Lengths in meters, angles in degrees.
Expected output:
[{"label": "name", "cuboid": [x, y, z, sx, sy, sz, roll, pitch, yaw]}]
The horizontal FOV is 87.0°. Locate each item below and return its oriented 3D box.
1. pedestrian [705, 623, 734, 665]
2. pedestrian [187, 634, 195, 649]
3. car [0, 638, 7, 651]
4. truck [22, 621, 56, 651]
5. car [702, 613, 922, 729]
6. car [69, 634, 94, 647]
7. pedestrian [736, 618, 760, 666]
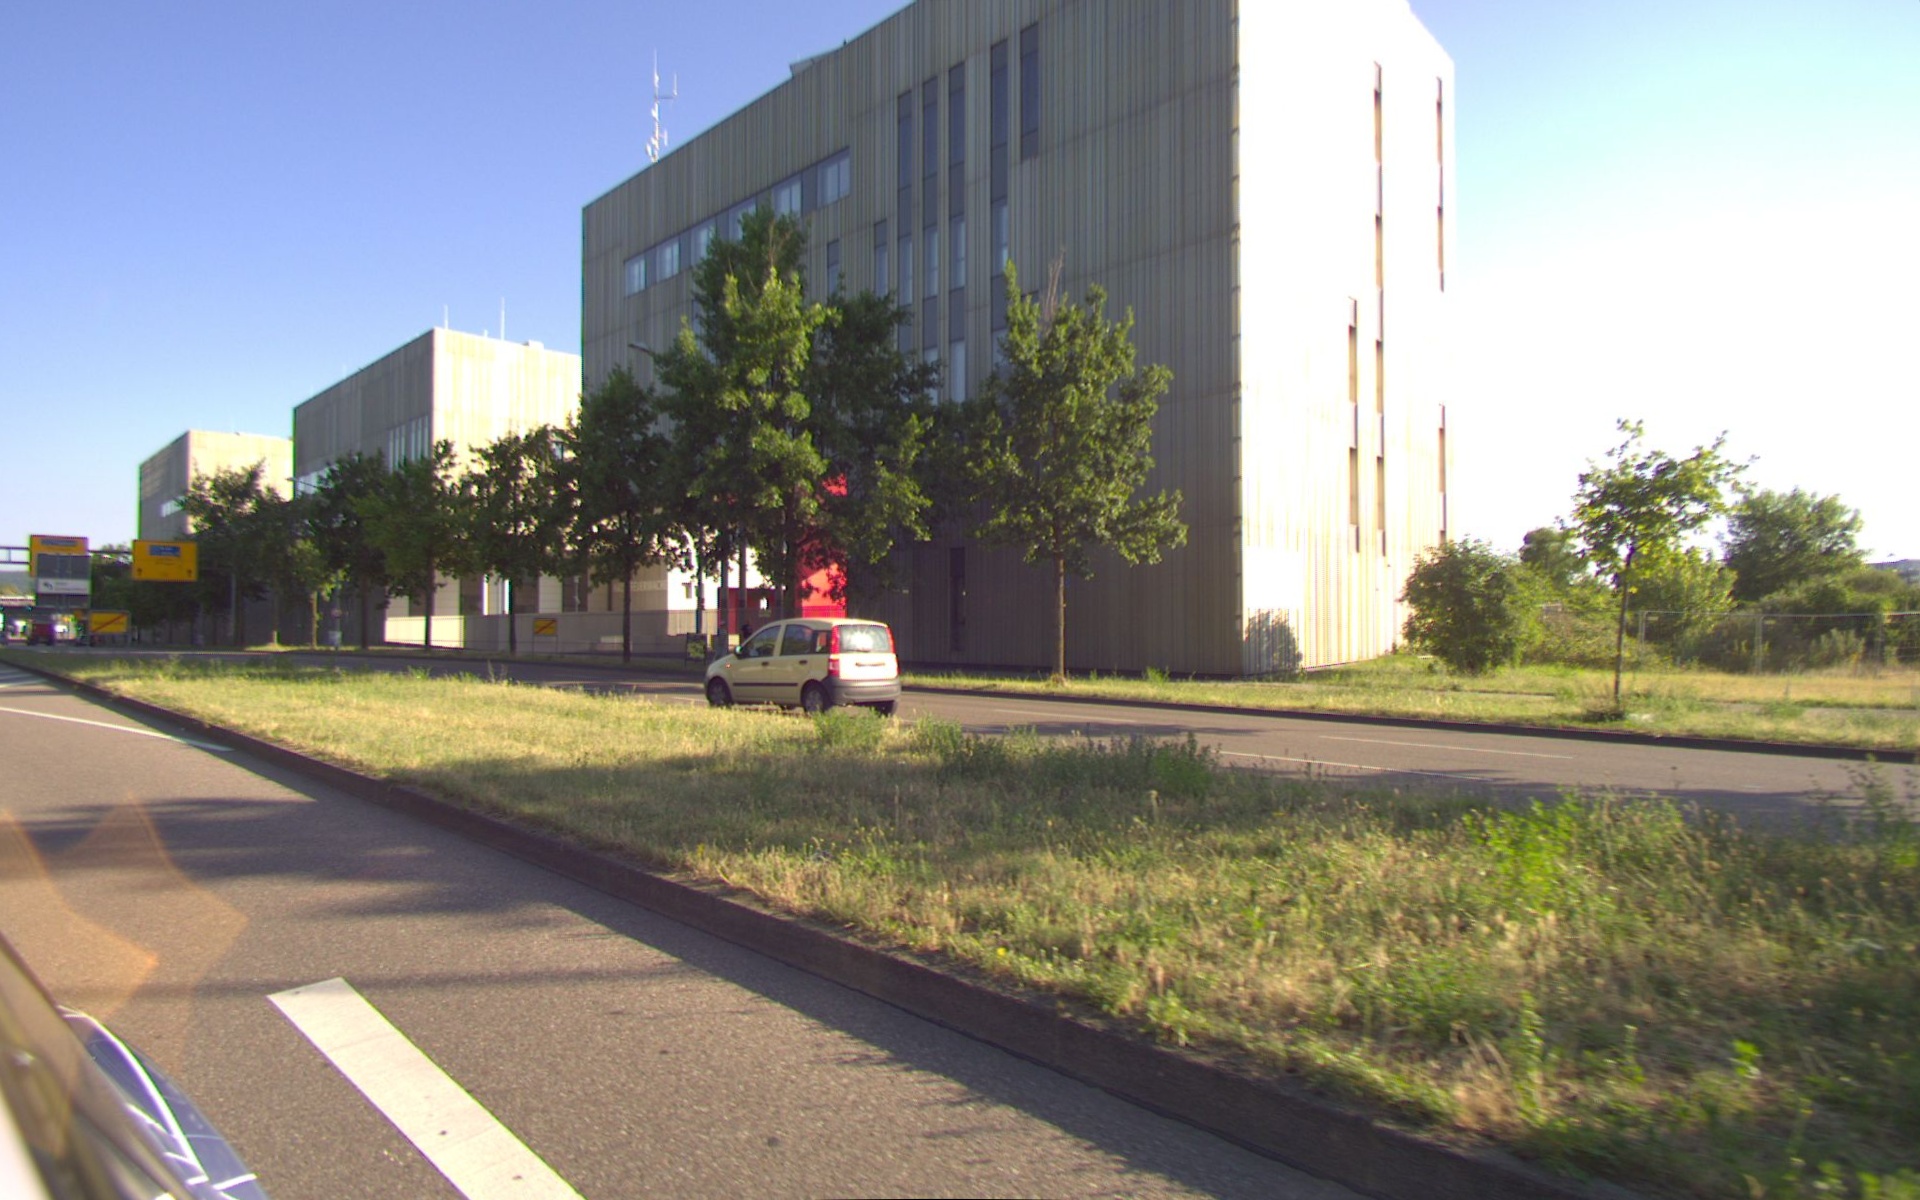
[{"label": "pedestrian", "cuboid": [-9.534, 1.733, 40.146, 0.910, 1.614, 0.767, -2, -2, 45]}, {"label": "pedestrian", "cuboid": [-91.754, 4.975, 120.757, 0.649, 1.781, 0.596, -2, -3, 45]}, {"label": "car", "cuboid": [-141.255, 6.564, 148.461, 1.970, 1.830, 4.404, 2, -3, -44]}, {"label": "truck", "cuboid": [-123.556, 4.878, 135.706, 2.963, 3.840, 10.095, 1, -2, -44]}, {"label": "car", "cuboid": [-2.345, 1.017, 15.643, 3.411, 1.587, 1.546, -1, -2, 41]}, {"label": "car", "cuboid": [-106.669, 4.882, 122.828, 3.862, 1.524, 1.580, -2, -2, 38]}, {"label": "pedestrian", "cuboid": [-8.377, 1.644, 40.008, 0.717, 1.855, 0.625, -2, -2, 45]}]
